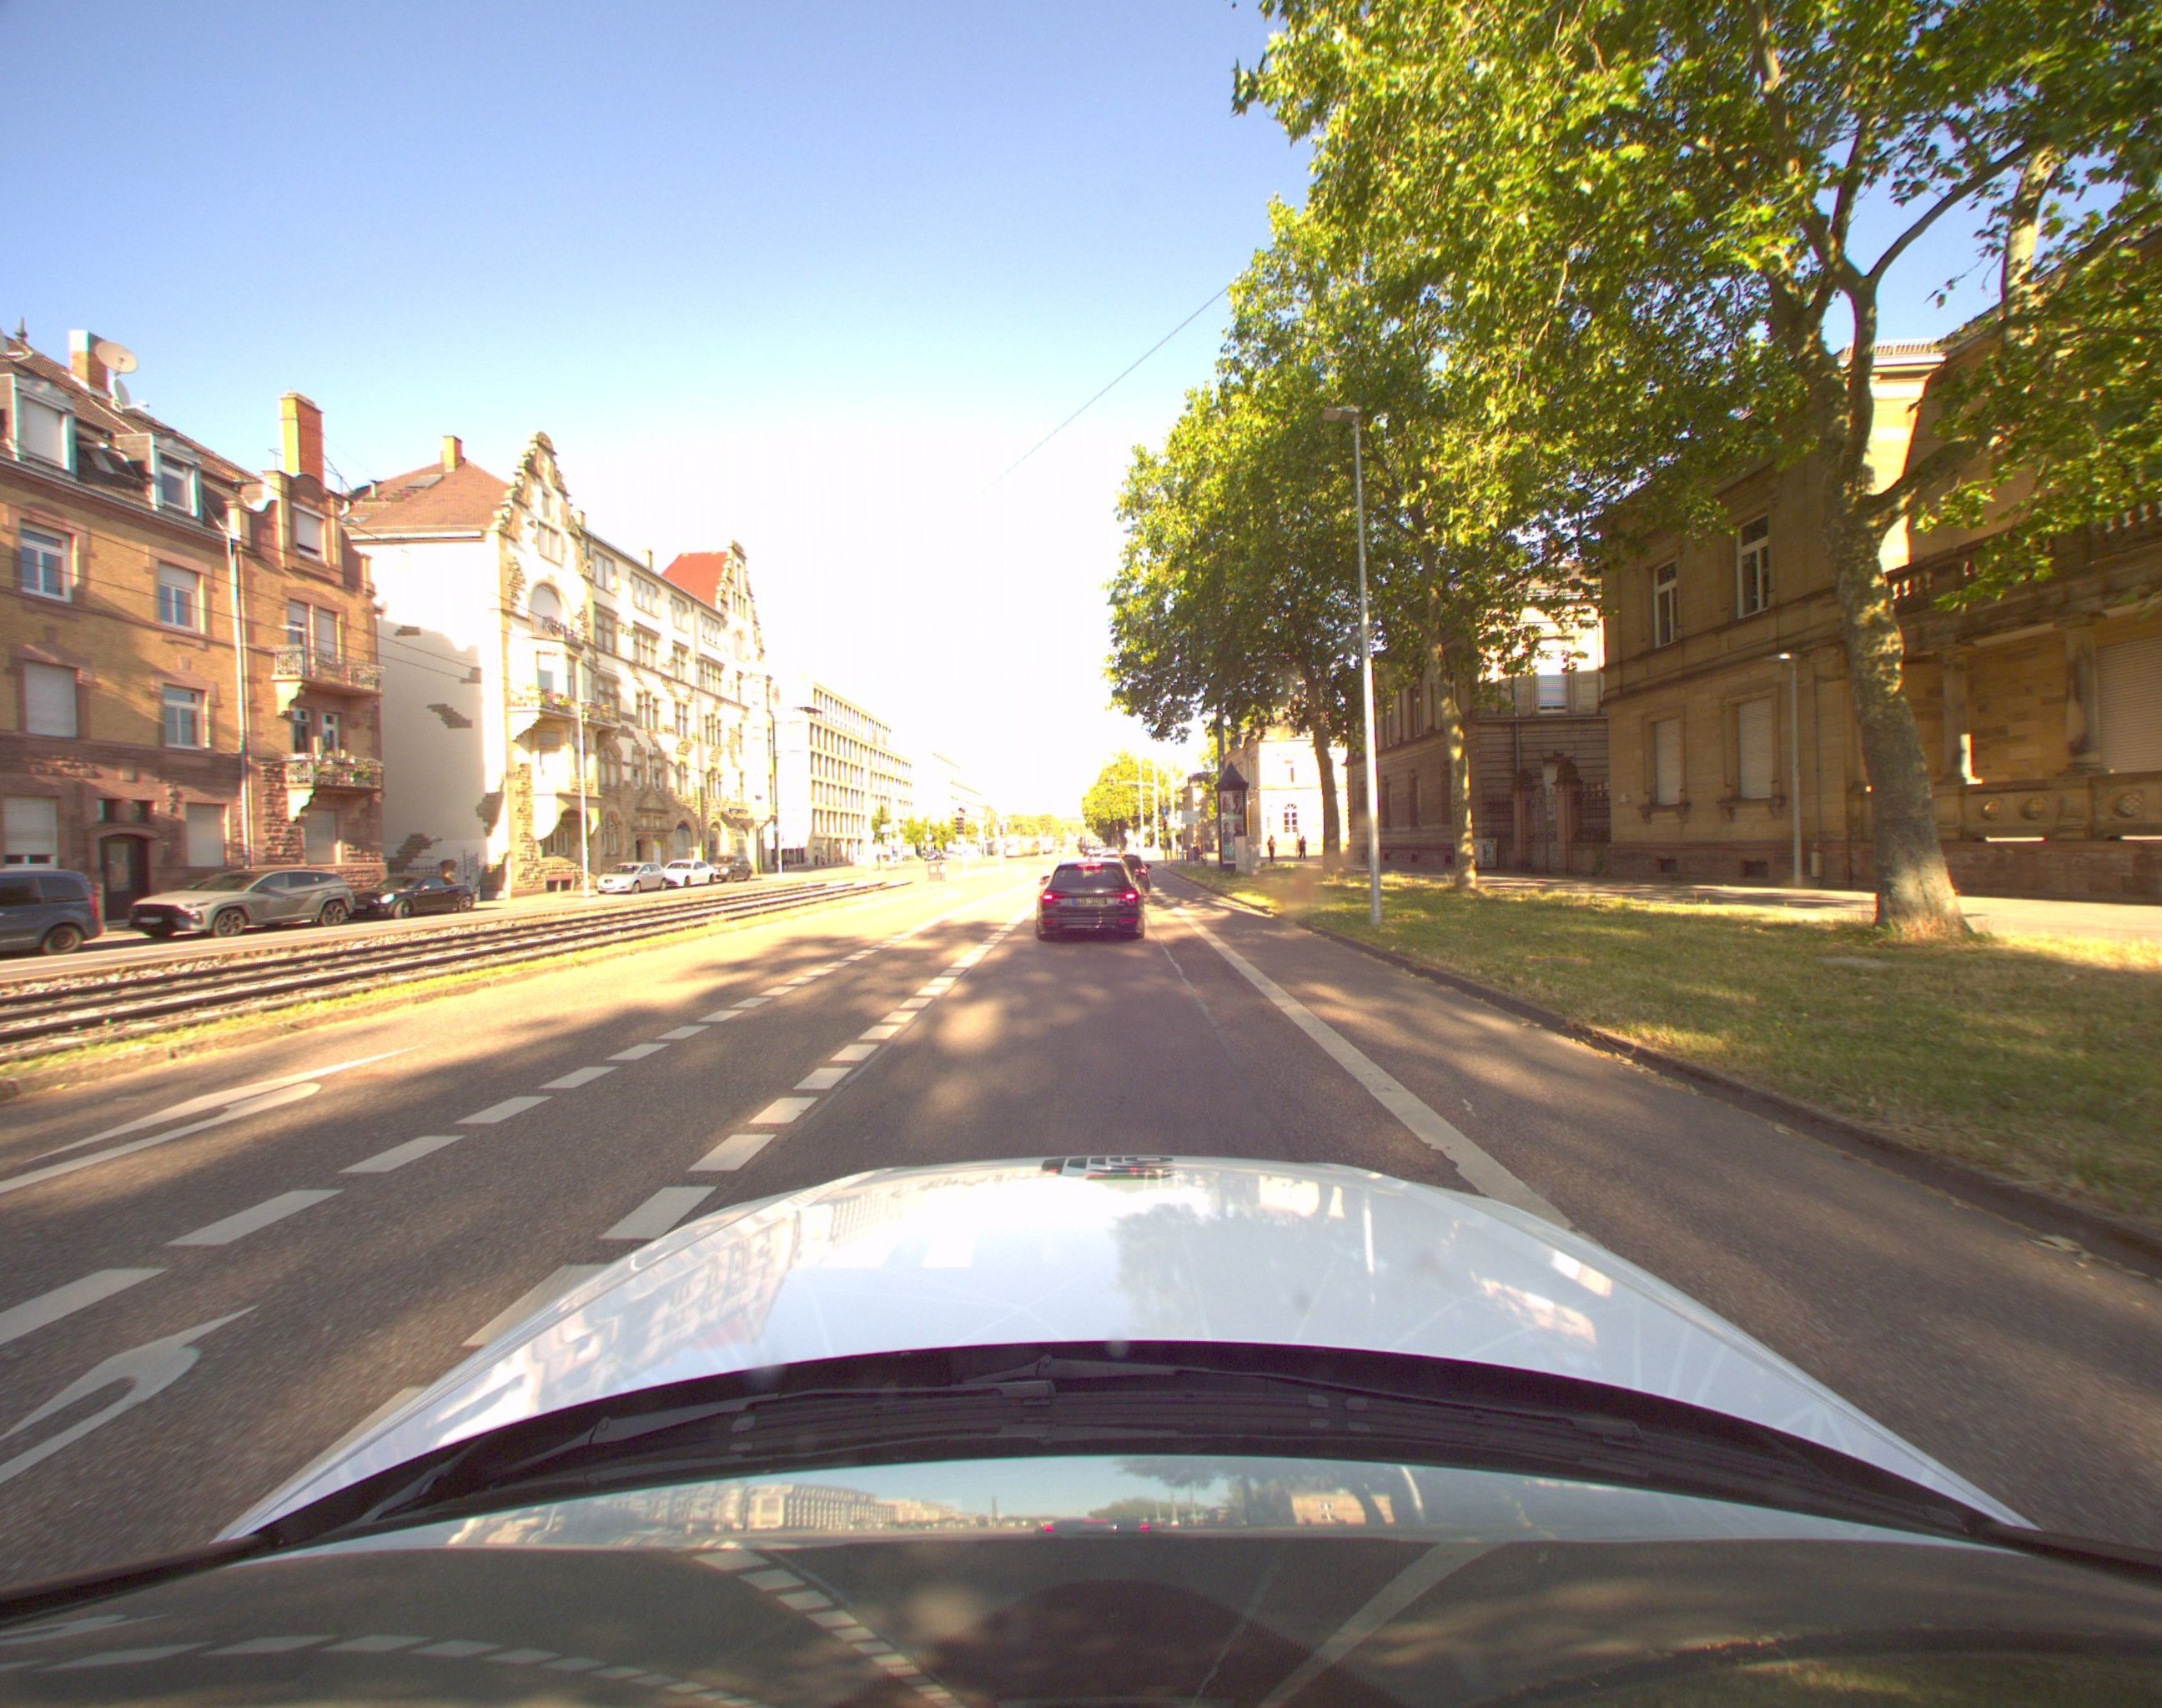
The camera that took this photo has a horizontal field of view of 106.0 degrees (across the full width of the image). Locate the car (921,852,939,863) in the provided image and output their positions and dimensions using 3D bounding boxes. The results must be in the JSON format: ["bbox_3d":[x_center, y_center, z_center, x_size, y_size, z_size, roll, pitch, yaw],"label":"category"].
[{"bbox_3d":[-20.666,0.436,111.615,1.814,1.457,4.164,-2,0,-1],"label":"car"}]

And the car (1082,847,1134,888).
[{"bbox_3d":[1.074,0.499,32.214,1.895,1.486,4.146,-1,0,2],"label":"car"}]

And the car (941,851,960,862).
[{"bbox_3d":[-19.687,0.356,122.913,1.812,1.457,4.544,-2,0,3],"label":"car"}]

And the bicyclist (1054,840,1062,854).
[{"bbox_3d":[-3.047,-0.899,107.049,0.755,1.818,0.763,-2,1,45],"label":"bicyclist"}]

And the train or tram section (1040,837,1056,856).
[{"bbox_3d":[-6.392,-1.485,158.478,2.600,3.450,11.130,-2,1,0],"label":"train or tram section"}]

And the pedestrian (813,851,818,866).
[{"bbox_3d":[-32.931,0.604,101.044,0.475,1.843,0.438,-2,0,-37],"label":"pedestrian"}]

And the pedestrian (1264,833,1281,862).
[{"bbox_3d":[11.500,-0.407,48.905,0.766,1.709,1.043,-2,0,3],"label":"pedestrian"}]

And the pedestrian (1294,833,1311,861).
[{"bbox_3d":[13.222,-0.422,48.660,0.766,1.606,0.987,-2,0,3],"label":"pedestrian"}]

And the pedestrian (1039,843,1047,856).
[{"bbox_3d":[-4.967,-0.604,107.404,0.746,1.741,0.656,-2,0,-37],"label":"pedestrian"}]

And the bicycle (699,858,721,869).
[{"bbox_3d":[-45.857,1.154,100.737,2.373,1.215,0.577,-2,0,0],"label":"bicycle"}]

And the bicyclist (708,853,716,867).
[{"bbox_3d":[-45.636,0.793,100.732,0.639,1.686,0.577,-2,0,1],"label":"bicyclist"}]

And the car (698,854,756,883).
[{"bbox_3d":[-21.638,0.840,49.906,1.711,1.675,4.216,0,1,0],"label":"car"}]

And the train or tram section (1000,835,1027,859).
[{"bbox_3d":[-10.479,-1.062,128.165,2.803,3.489,13.208,-2,1,1],"label":"train or tram section"}]

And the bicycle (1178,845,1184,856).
[{"bbox_3d":[10.201,-0.360,83.019,0.433,1.145,1.340,-2,1,0],"label":"bicycle"}]

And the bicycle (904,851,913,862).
[{"bbox_3d":[-23.540,0.334,111.089,0.682,1.381,1.948,-2,0,3],"label":"bicycle"}]

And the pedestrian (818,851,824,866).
[{"bbox_3d":[-32.291,0.581,101.276,0.535,1.843,0.438,-2,0,-37],"label":"pedestrian"}]

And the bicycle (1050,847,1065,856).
[{"bbox_3d":[-3.094,-0.377,106.986,0.755,1.108,2.024,-2,1,44],"label":"bicycle"}]

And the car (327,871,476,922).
[{"bbox_3d":[-21.673,1.306,26.172,1.617,1.354,3.726,1,1,0],"label":"car"}]

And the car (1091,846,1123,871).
[{"bbox_3d":[1.615,0.252,50.213,1.895,1.486,4.146,-1,0,2],"label":"car"}]

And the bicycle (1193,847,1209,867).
[{"bbox_3d":[6.874,0.168,46.606,0.538,1.061,1.770,-2,0,-2],"label":"bicycle"}]

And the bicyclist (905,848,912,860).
[{"bbox_3d":[-23.485,0.009,111.068,0.682,1.562,0.786,-2,0,2],"label":"bicyclist"}]

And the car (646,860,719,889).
[{"bbox_3d":[-21.670,1.067,44.479,1.711,1.423,4.655,0,1,0],"label":"car"}]

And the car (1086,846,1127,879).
[{"bbox_3d":[1.251,0.365,39.845,1.895,1.486,4.146,-1,0,2],"label":"car"}]

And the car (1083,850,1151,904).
[{"bbox_3d":[1.069,0.634,24.867,1.895,1.486,4.146,-1,0,2],"label":"car"}]

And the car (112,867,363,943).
[{"bbox_3d":[-21.857,1.241,21.435,1.850,1.622,4.503,1,1,0],"label":"car"}]

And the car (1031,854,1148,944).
[{"bbox_3d":[0.206,0.730,15.383,1.895,1.421,4.146,-1,0,2],"label":"car"}]

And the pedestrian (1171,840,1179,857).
[{"bbox_3d":[9.572,-0.551,83.000,0.680,1.660,0.758,-2,0,-1],"label":"pedestrian"}]

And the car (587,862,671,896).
[{"bbox_3d":[-21.526,1.135,38.999,1.704,1.430,4.221,0,1,-1],"label":"car"}]

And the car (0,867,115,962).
[{"bbox_3d":[-21.983,1.200,15.455,1.877,1.758,4.422,1,1,4],"label":"car"}]
